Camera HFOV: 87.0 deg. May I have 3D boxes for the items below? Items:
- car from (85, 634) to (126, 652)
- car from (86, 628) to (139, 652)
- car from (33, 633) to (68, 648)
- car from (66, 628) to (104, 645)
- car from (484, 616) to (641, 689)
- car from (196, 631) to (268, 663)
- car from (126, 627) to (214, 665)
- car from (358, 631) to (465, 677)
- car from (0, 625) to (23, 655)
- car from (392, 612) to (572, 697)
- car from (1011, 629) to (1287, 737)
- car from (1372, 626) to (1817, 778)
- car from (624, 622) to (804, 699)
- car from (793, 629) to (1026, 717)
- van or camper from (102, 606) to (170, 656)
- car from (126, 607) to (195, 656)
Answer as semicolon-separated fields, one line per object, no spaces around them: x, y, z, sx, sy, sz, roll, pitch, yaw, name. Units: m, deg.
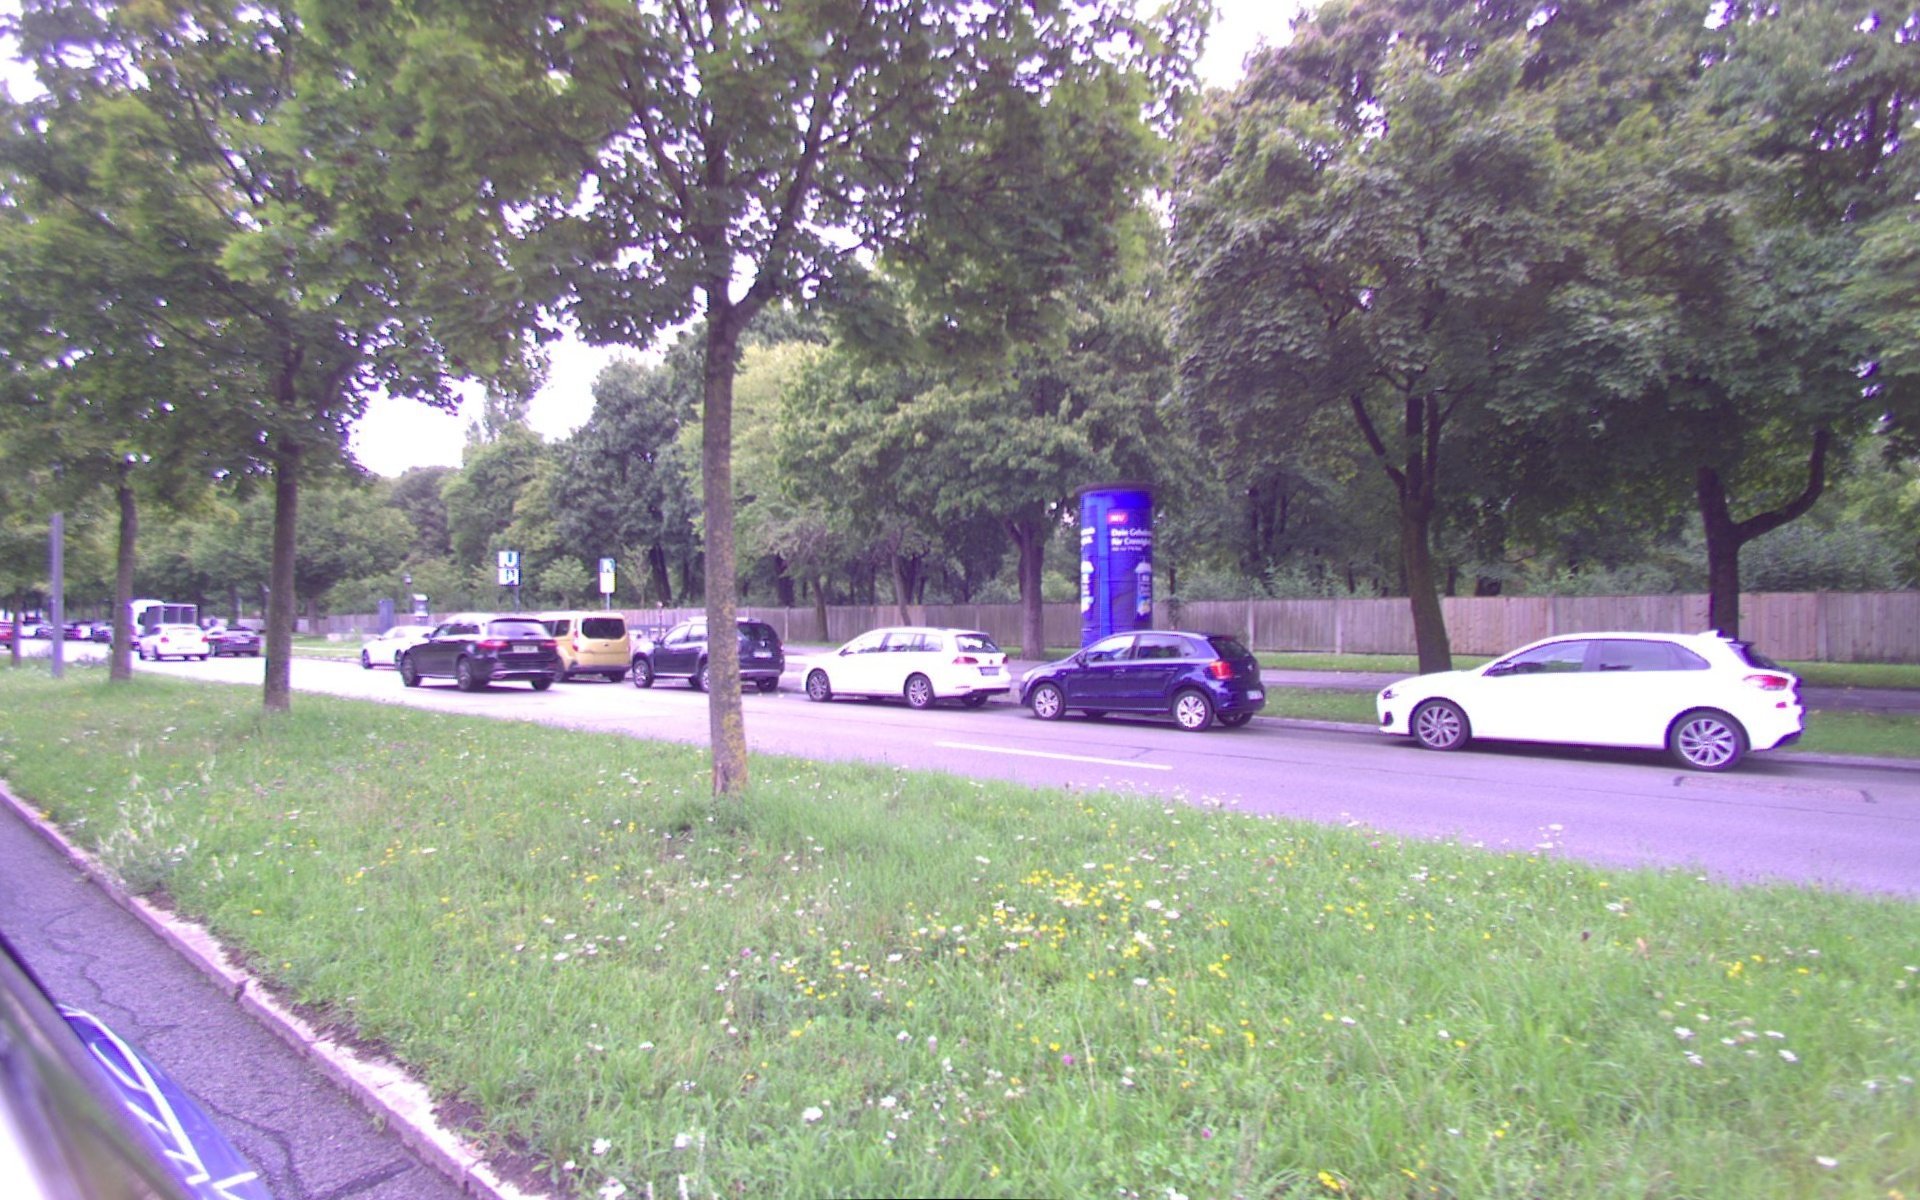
-67.261;3.364;79.636;4.036;1.420;1.696;-1;-3;38;car
-52.215;2.430;62.367;4.036;1.420;1.696;-1;-3;38;car
-84.113;3.732;93.578;4.036;1.420;1.696;-1;-3;38;car
-74.694;3.126;86.387;4.036;1.420;1.696;-1;-3;38;car
-10.649;1.355;26.982;4.528;1.784;1.839;-1;-3;38;car
-34.398;2.201;47.786;4.036;1.420;1.696;-1;-3;38;car
-31.680;1.825;40.535;4.497;1.467;1.842;-1;-4;40;car
-18.544;1.779;34.159;4.036;1.454;1.696;-1;-3;38;car
-54.407;2.225;56.948;4.497;1.671;1.842;-1;-4;40;car
-10.573;1.168;22.259;4.497;1.682;1.842;-1;-4;40;car
2.849;1.204;15.572;3.783;1.457;1.804;-1;-4;38;car
7.371;1.086;12.027;4.257;1.488;1.802;-2;-4;41;car
-5.714;1.334;23.350;4.036;1.628;1.982;-1;-3;38;car
-1.027;1.295;19.115;4.295;1.481;1.804;-1;-3;38;car
-48.058;1.798;58.992;4.926;2.829;1.974;-1;-3;38;van or camper
-44.168;1.741;55.890;4.494;2.611;1.974;-1;-3;38;car
